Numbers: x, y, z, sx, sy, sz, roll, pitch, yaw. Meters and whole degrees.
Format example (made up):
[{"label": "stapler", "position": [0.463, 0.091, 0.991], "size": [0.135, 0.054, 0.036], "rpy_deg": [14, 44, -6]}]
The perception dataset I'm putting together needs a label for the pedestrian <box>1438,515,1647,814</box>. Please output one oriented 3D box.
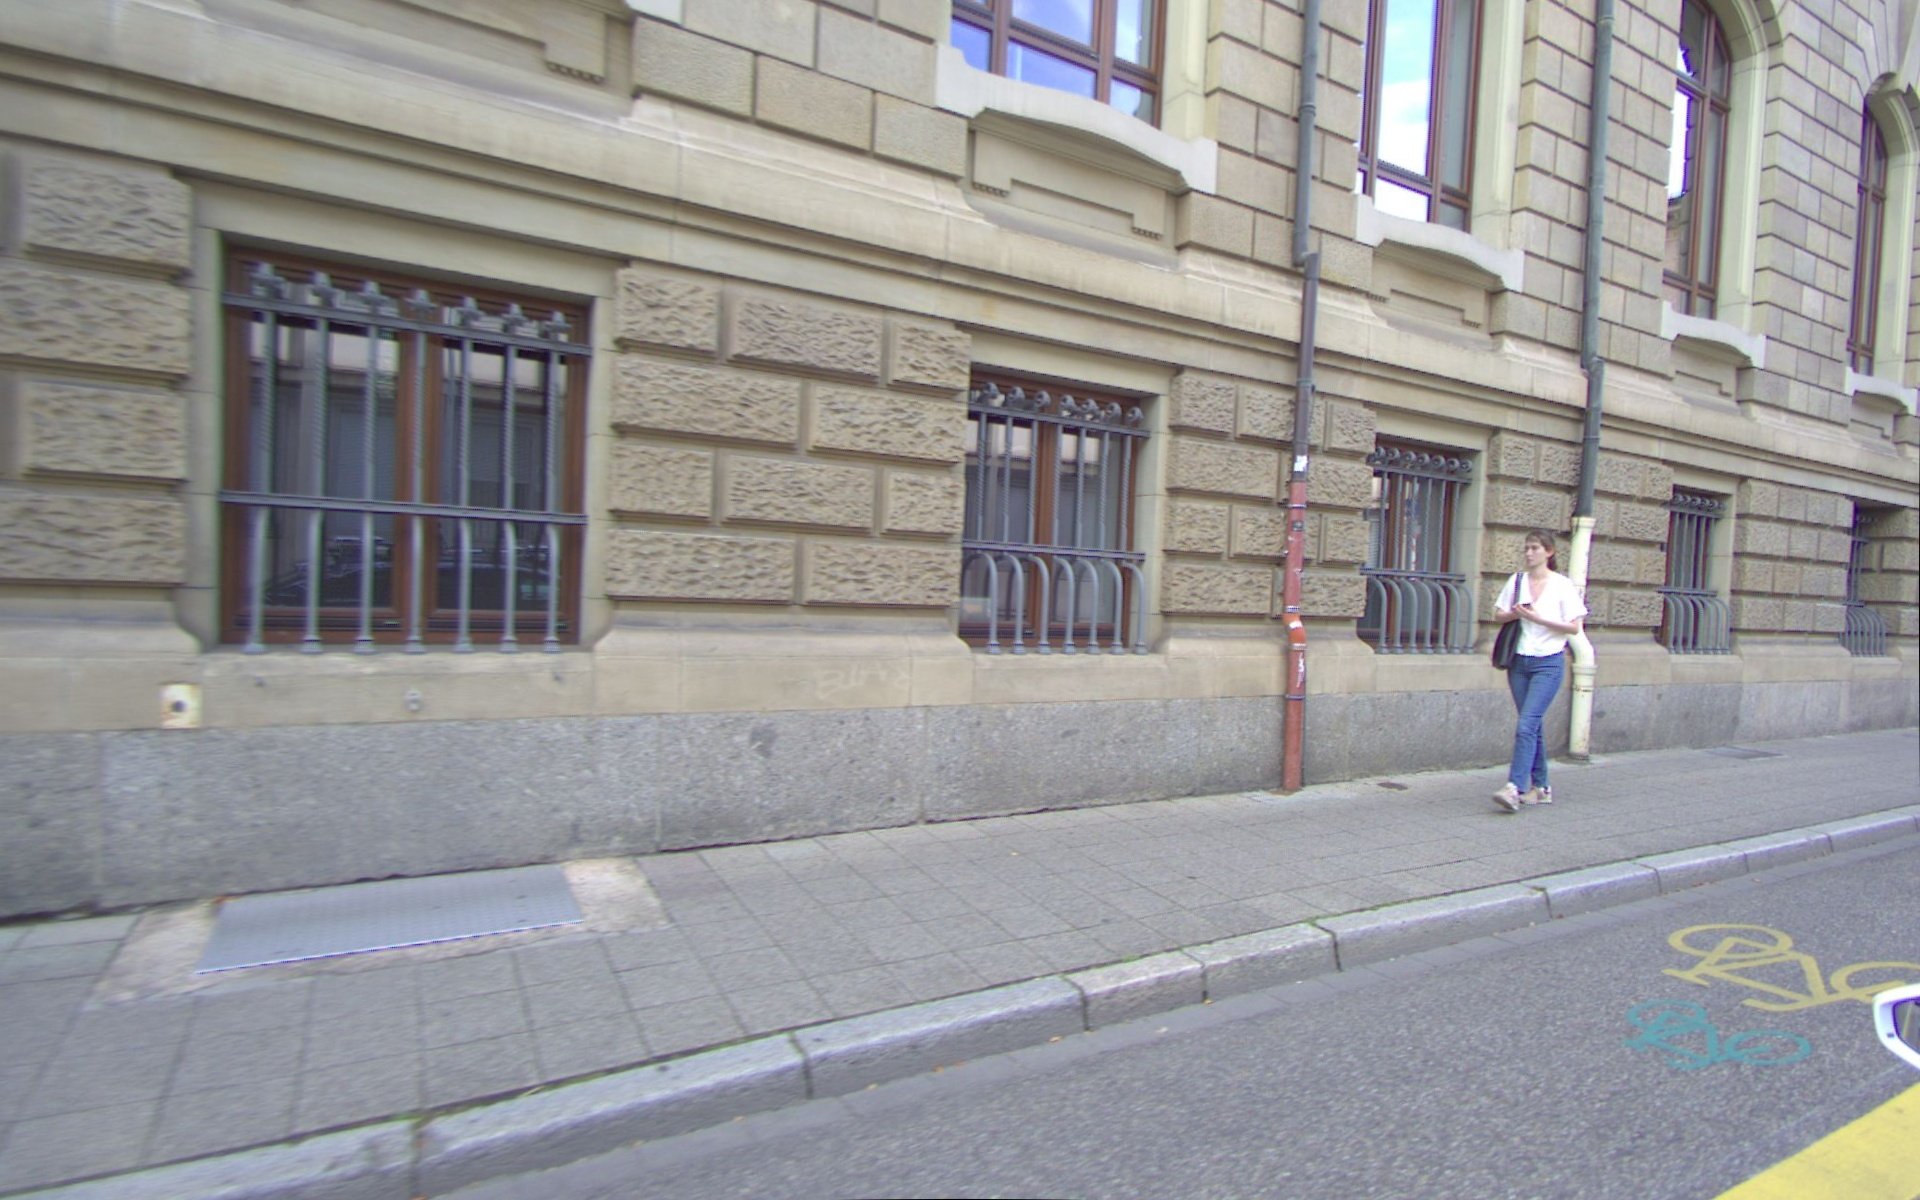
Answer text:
[{"label": "pedestrian", "position": [3.880, 0.396, 6.703], "size": [1.036, 1.844, 0.660], "rpy_deg": [2, 3, -30]}]
